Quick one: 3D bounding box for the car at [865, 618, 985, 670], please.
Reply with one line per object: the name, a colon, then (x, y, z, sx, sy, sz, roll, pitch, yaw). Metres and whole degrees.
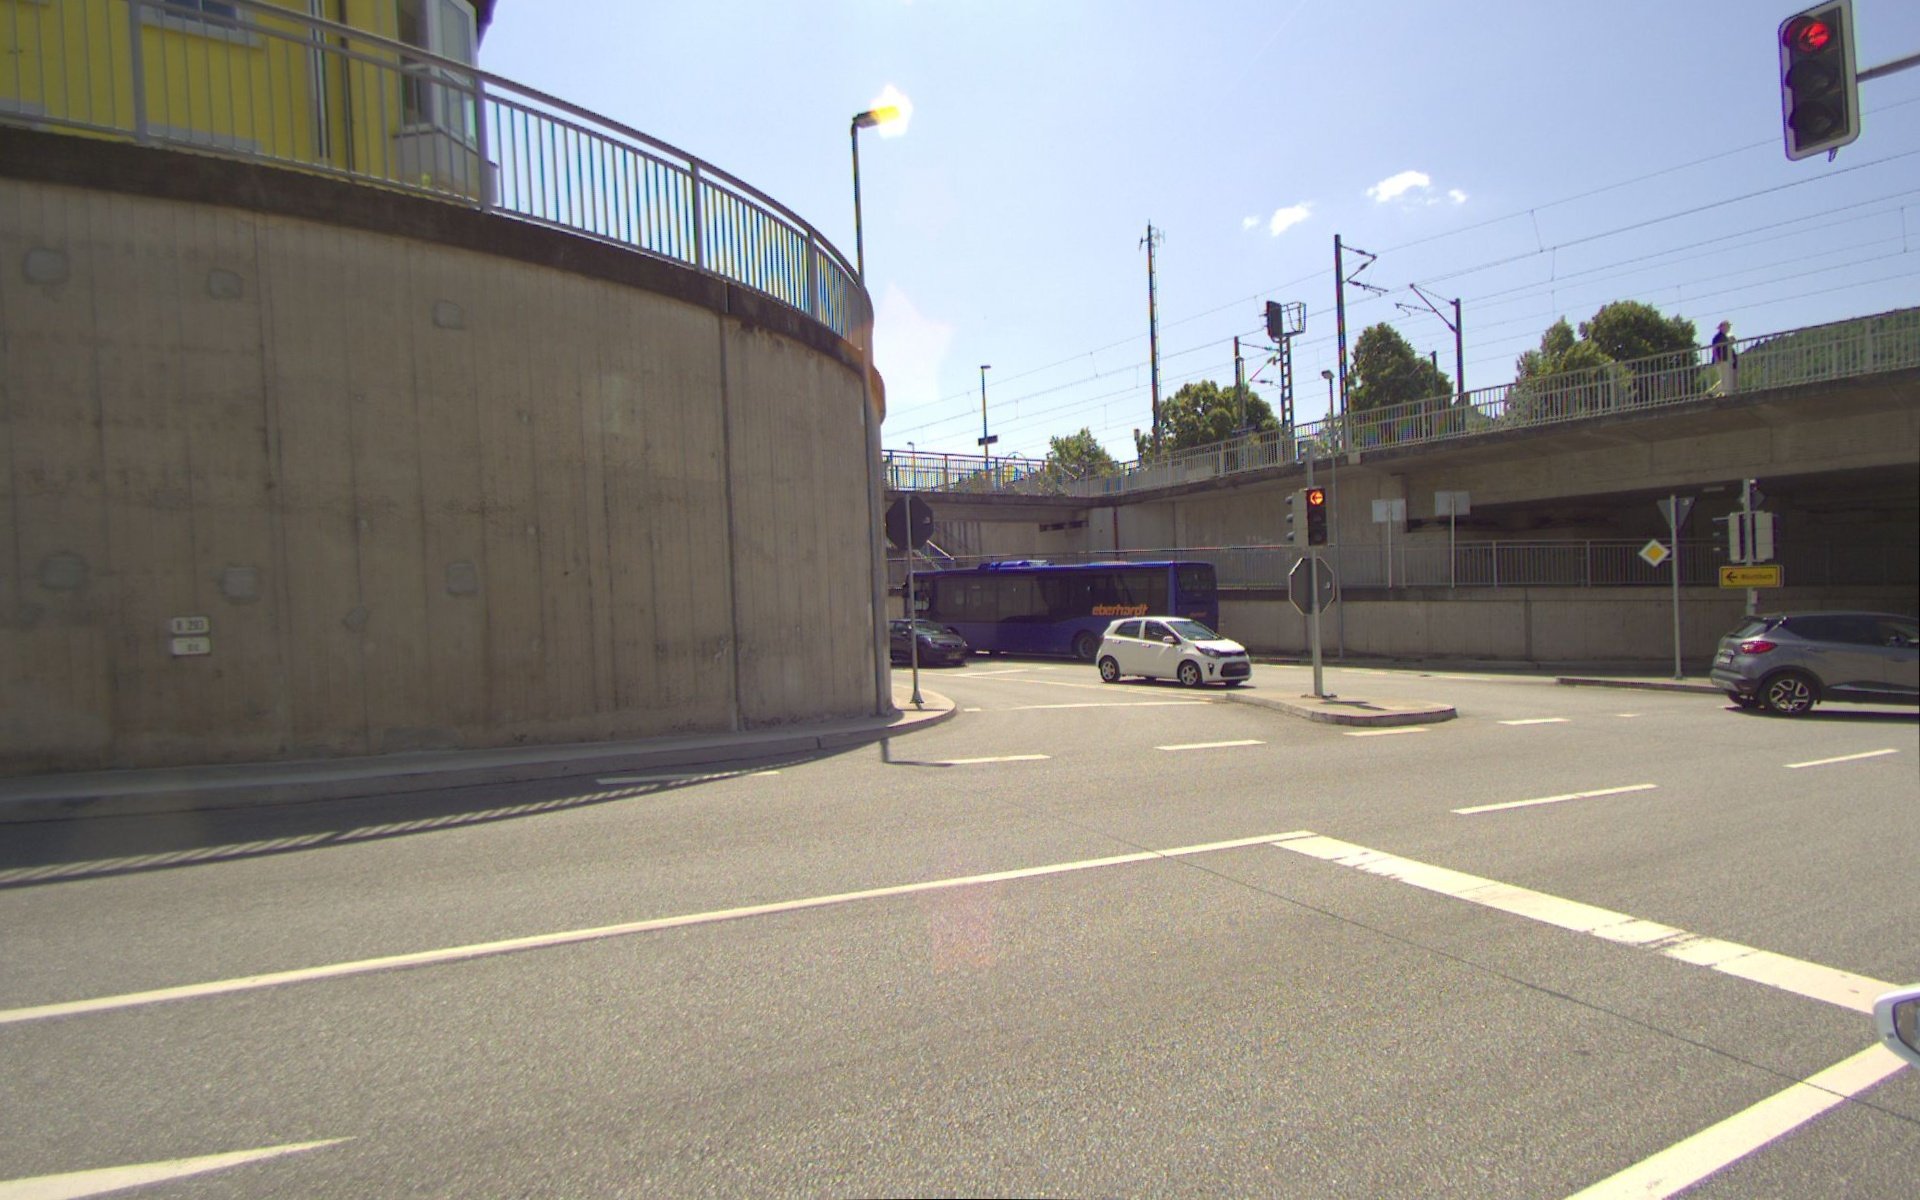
car: (-1.143, 1.301, 31.039, 1.751, 1.393, 3.958, -1, 1, -37)

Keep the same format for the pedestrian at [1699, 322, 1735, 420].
pedestrian: (17.697, -5.333, 23.485, 0.531, 2.108, 0.571, 1, -1, -40)

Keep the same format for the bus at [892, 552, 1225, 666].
bus: (2.714, 0.275, 33.521, 2.572, 3.215, 12.210, -2, 1, -45)

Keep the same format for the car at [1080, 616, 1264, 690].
car: (4.696, 1.121, 22.724, 1.714, 1.439, 3.959, -1, 1, -36)

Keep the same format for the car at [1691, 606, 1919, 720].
car: (13.968, 0.924, 15.533, 3.922, 1.610, 1.999, -1, 1, 22)
